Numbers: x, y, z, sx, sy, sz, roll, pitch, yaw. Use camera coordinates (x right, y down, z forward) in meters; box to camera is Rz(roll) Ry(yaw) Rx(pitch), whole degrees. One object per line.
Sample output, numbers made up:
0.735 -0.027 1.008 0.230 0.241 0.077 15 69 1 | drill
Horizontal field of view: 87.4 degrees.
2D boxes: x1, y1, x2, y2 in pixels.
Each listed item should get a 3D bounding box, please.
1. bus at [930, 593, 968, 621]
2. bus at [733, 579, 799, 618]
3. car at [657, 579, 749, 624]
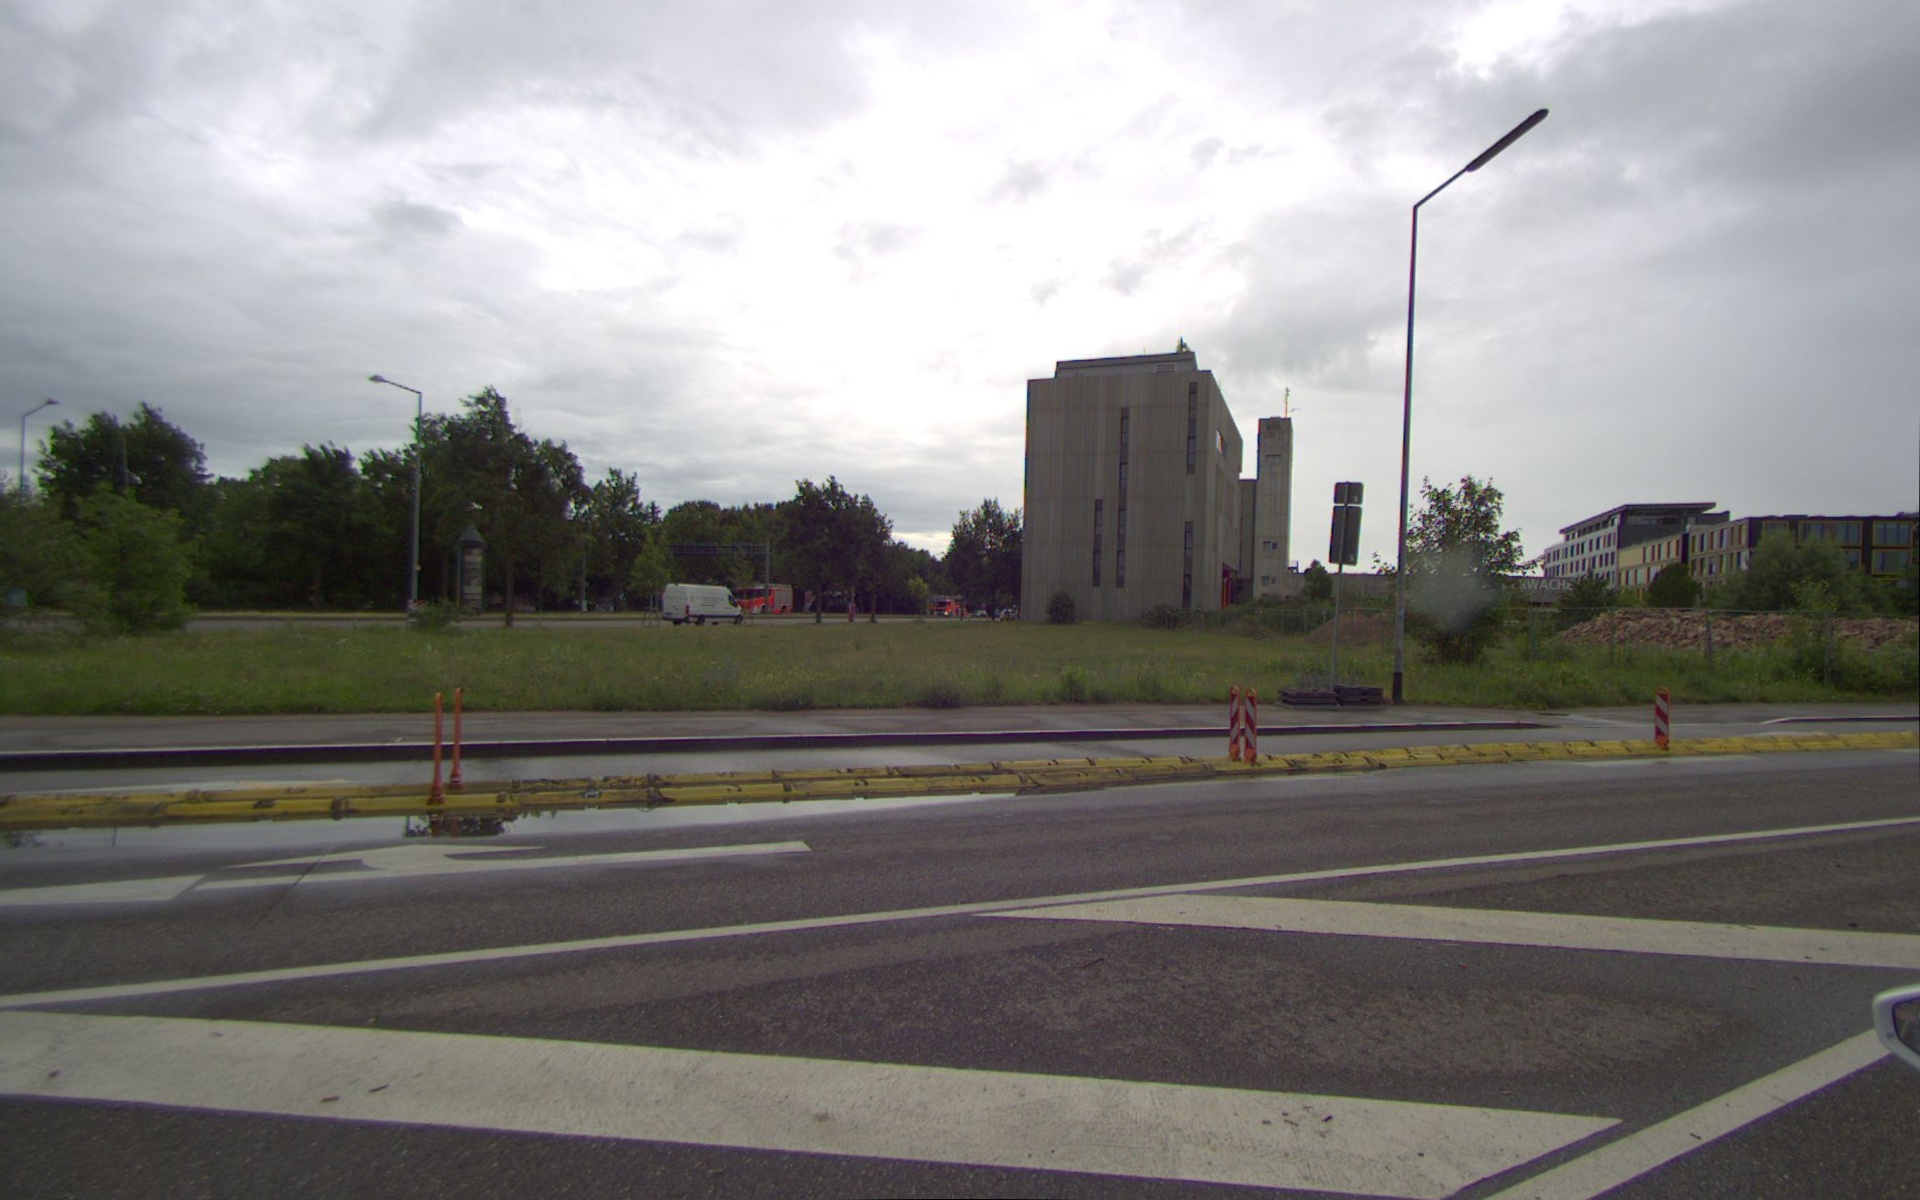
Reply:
-1.599 1.113 152.311 2.680 4.035 9.892 1 0 18 | bus
-19.170 -0.128 99.931 2.680 3.697 8.400 1 0 18 | bus
-16.540 0.099 65.029 2.351 2.740 6.572 1 0 21 | car
